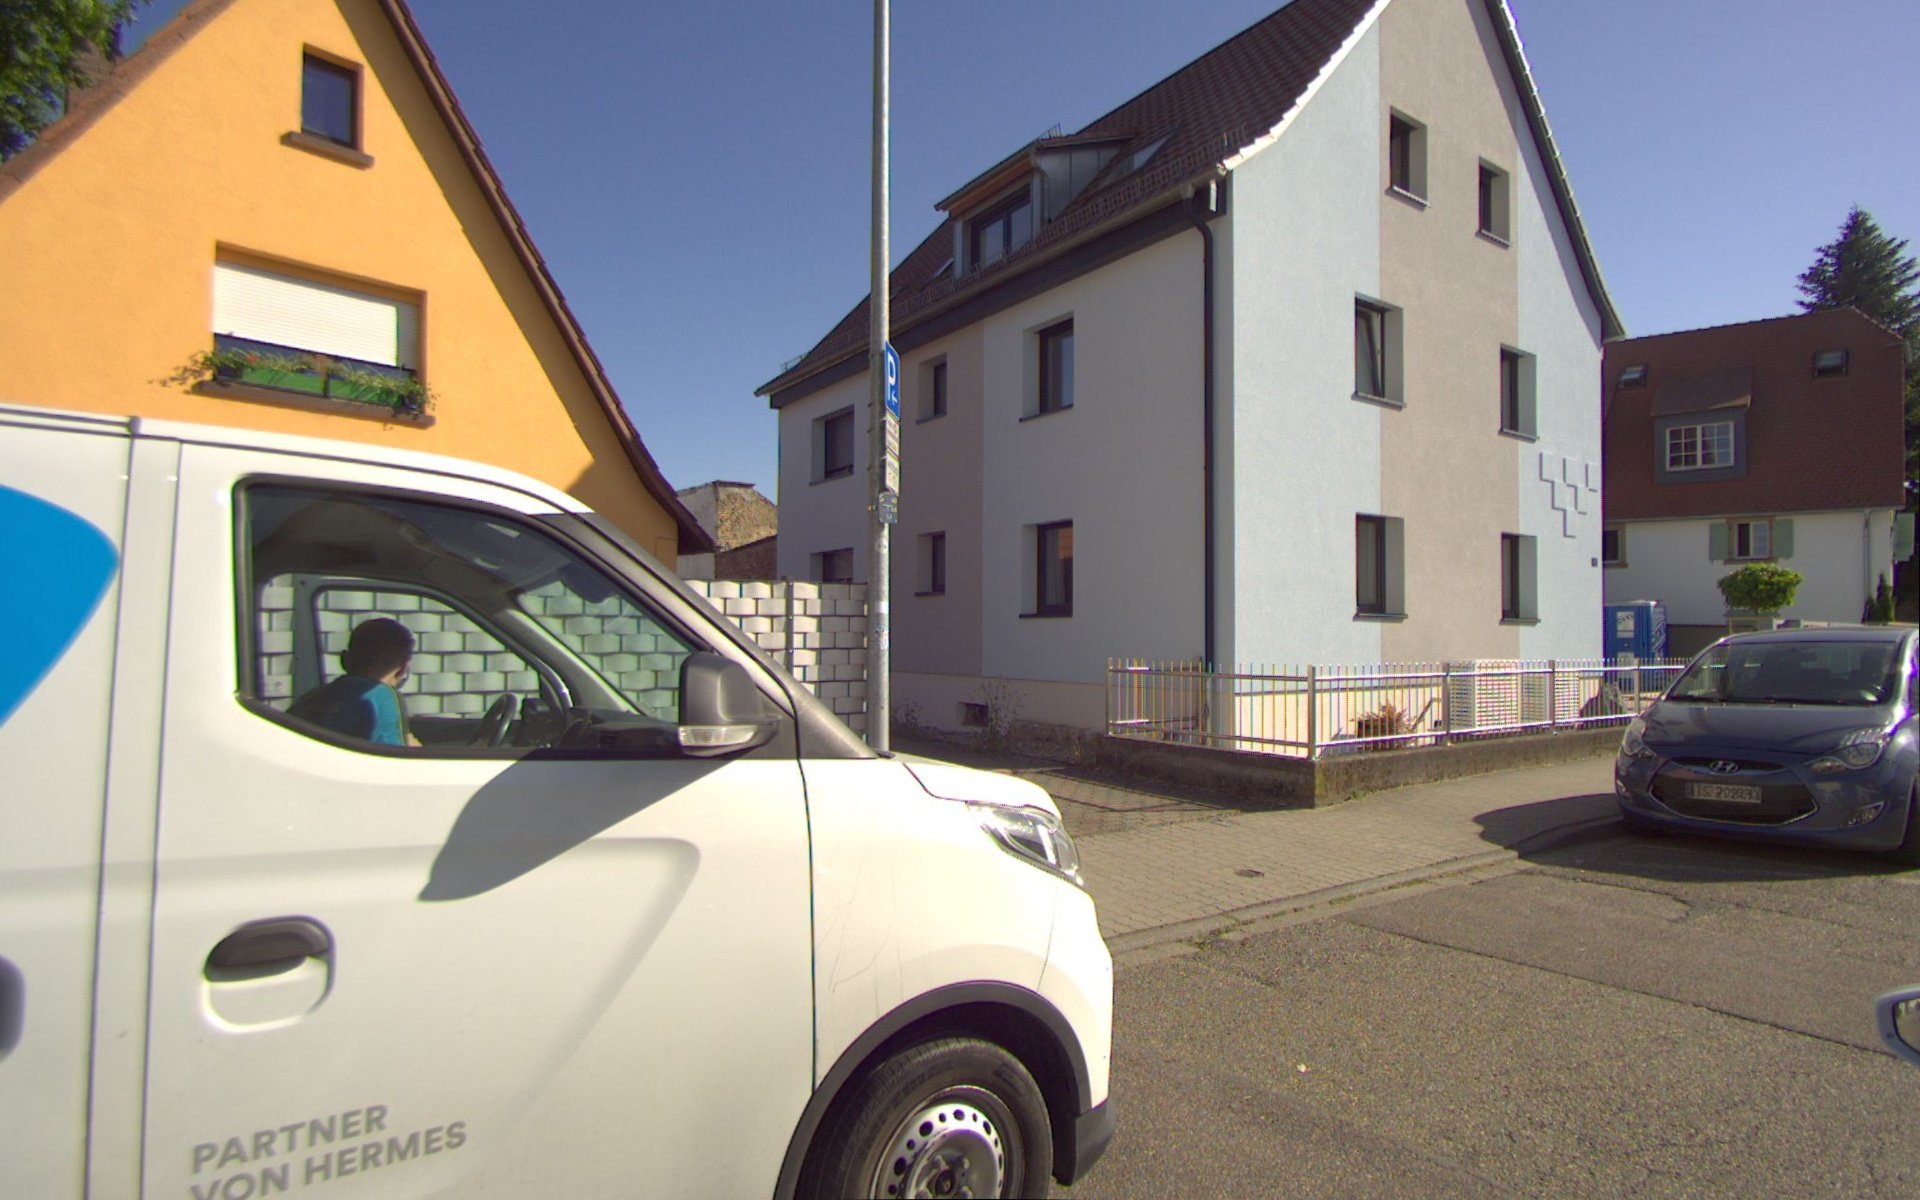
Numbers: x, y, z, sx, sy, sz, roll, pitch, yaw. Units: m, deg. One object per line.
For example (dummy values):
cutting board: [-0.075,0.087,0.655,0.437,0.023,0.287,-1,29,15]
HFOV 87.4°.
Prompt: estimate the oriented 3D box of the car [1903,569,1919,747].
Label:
car: [16.040,0.786,14.562,6.003,2.421,2.183,1,-4,-35]

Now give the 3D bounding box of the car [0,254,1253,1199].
car: [-1.852,0.575,1.925,5.018,1.942,1.891,2,-3,-35]

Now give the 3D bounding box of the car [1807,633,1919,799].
car: [10.549,1.101,10.380,4.192,1.524,1.701,1,-3,-35]

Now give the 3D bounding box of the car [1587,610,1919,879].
car: [6.767,0.949,7.900,3.886,1.619,1.704,1,-3,-35]
